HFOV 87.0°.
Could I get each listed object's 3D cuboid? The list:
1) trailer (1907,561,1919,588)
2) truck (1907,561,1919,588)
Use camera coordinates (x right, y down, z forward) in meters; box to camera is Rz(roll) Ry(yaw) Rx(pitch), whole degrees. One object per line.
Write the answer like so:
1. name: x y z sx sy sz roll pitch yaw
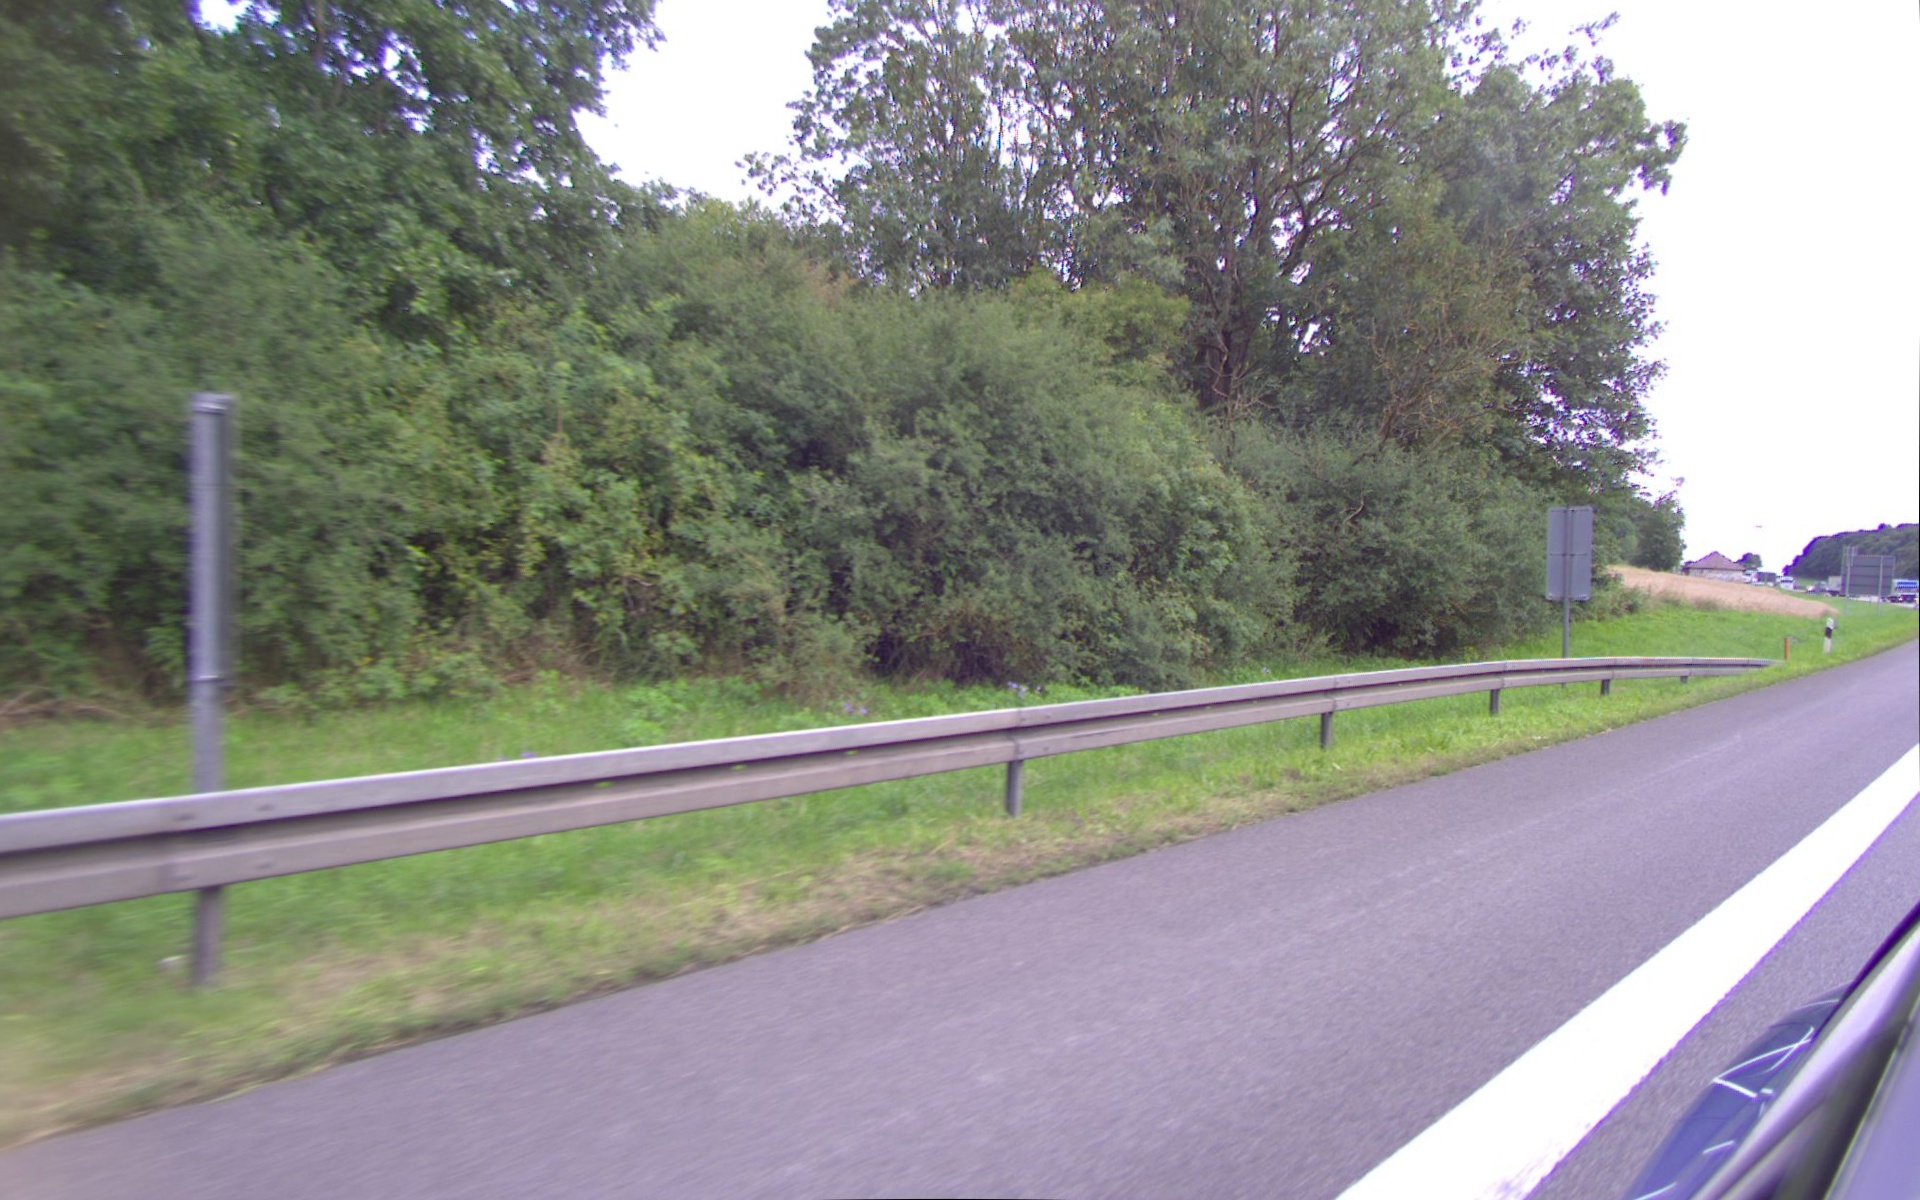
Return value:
1. trailer: 146.931 -3.868 154.948 2.779 4.004 11.122 1 2 43
2. truck: 142.204 -3.736 149.810 2.787 4.021 5.849 1 2 43
